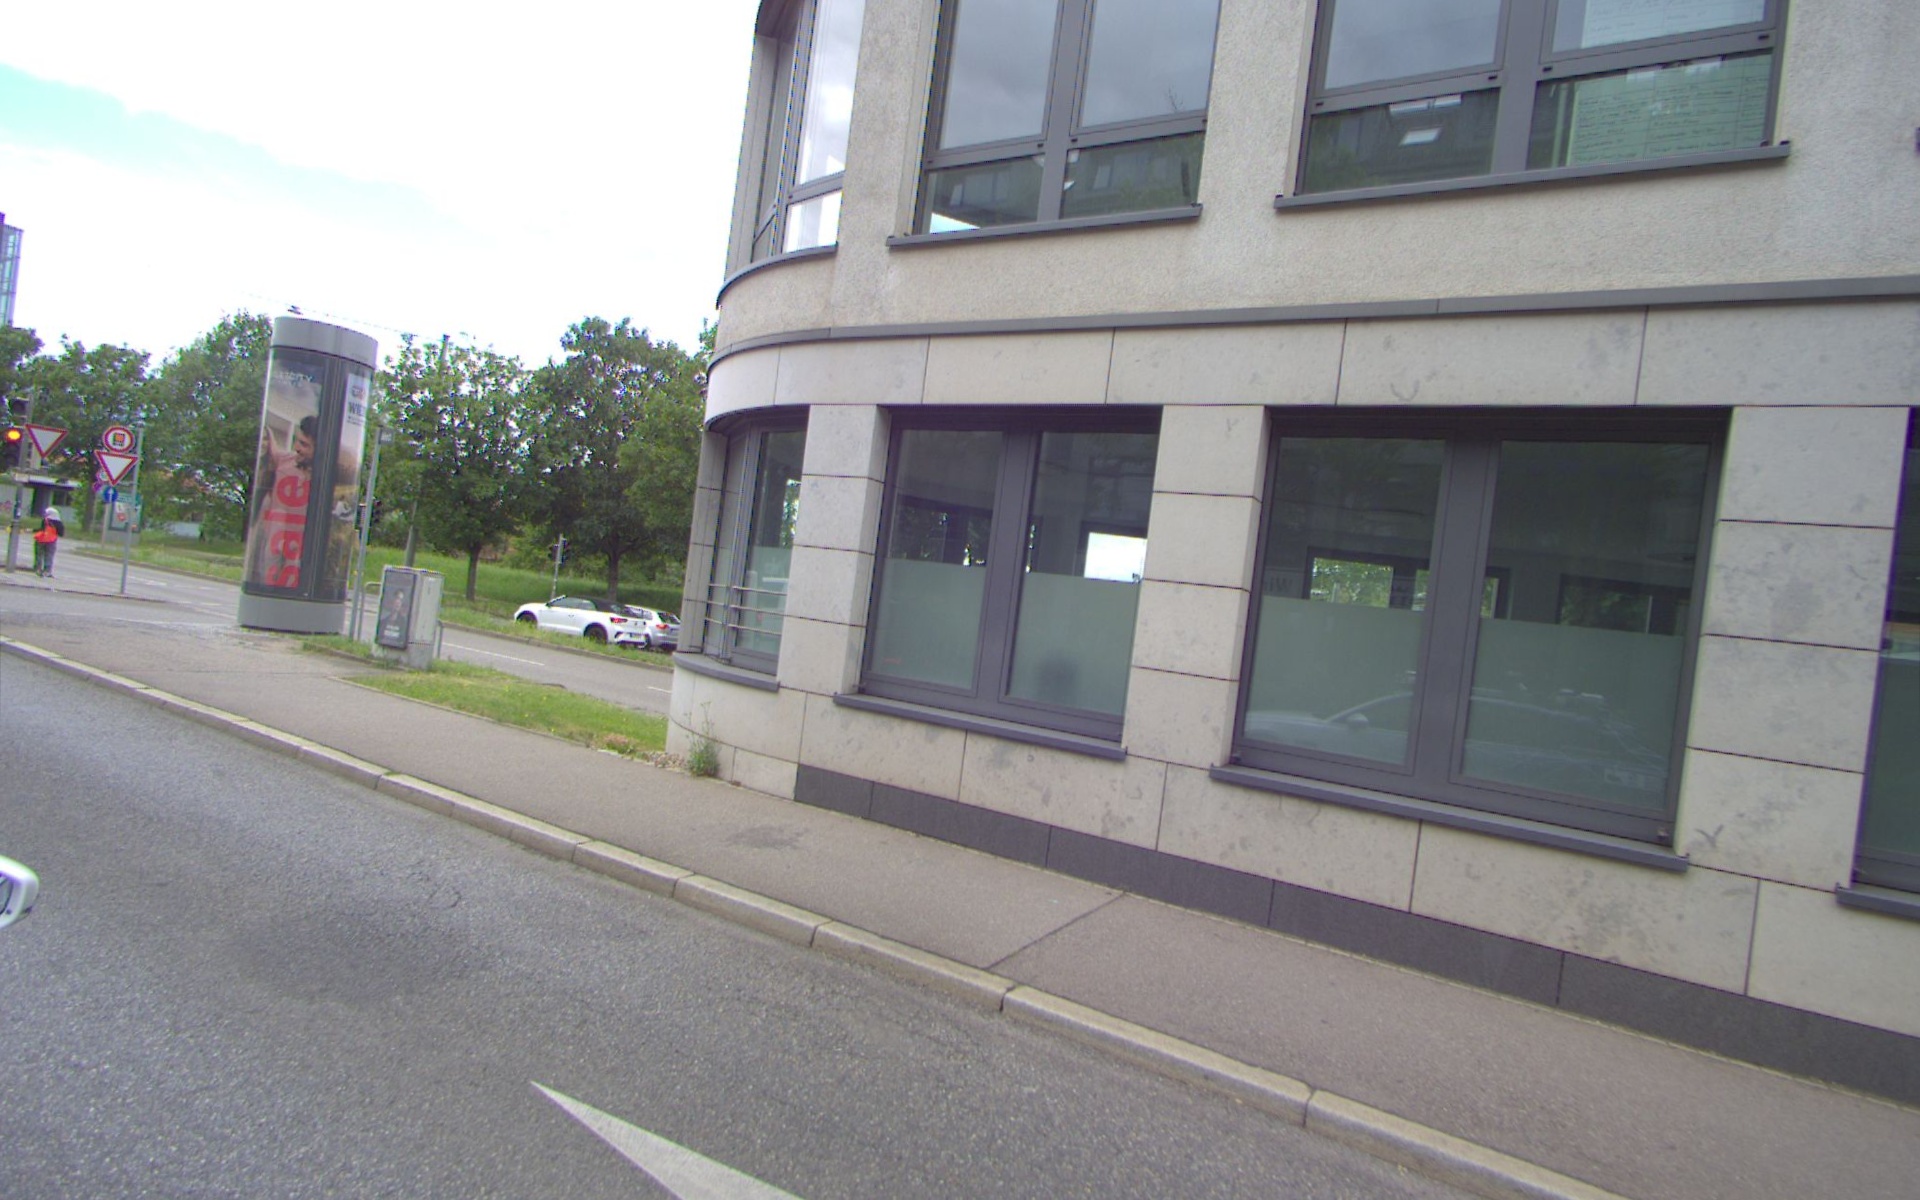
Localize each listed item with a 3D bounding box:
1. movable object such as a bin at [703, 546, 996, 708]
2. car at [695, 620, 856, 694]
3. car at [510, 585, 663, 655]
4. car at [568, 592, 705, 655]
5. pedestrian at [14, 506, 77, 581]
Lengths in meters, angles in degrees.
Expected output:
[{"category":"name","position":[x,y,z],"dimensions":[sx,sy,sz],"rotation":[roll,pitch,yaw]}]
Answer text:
[{"category":"movable object such as a bin","position":[-3.494,0.801,31.867],"dimensions":[8.410,3.949,2.870],"rotation":[7,-1,18]},{"category":"car","position":[-5.295,1.661,29.036],"dimensions":[3.925,1.469,2.003],"rotation":[8,-3,19]},{"category":"car","position":[-11.594,0.640,31.274],"dimensions":[3.925,1.469,2.003],"rotation":[8,-3,19]},{"category":"car","position":[-11.203,0.826,34.902],"dimensions":[3.925,1.469,2.003],"rotation":[8,-3,19]},{"category":"pedestrian","position":[-20.983,-1.281,23.090],"dimensions":[0.564,1.602,0.739],"rotation":[9,-2,-8]}]
